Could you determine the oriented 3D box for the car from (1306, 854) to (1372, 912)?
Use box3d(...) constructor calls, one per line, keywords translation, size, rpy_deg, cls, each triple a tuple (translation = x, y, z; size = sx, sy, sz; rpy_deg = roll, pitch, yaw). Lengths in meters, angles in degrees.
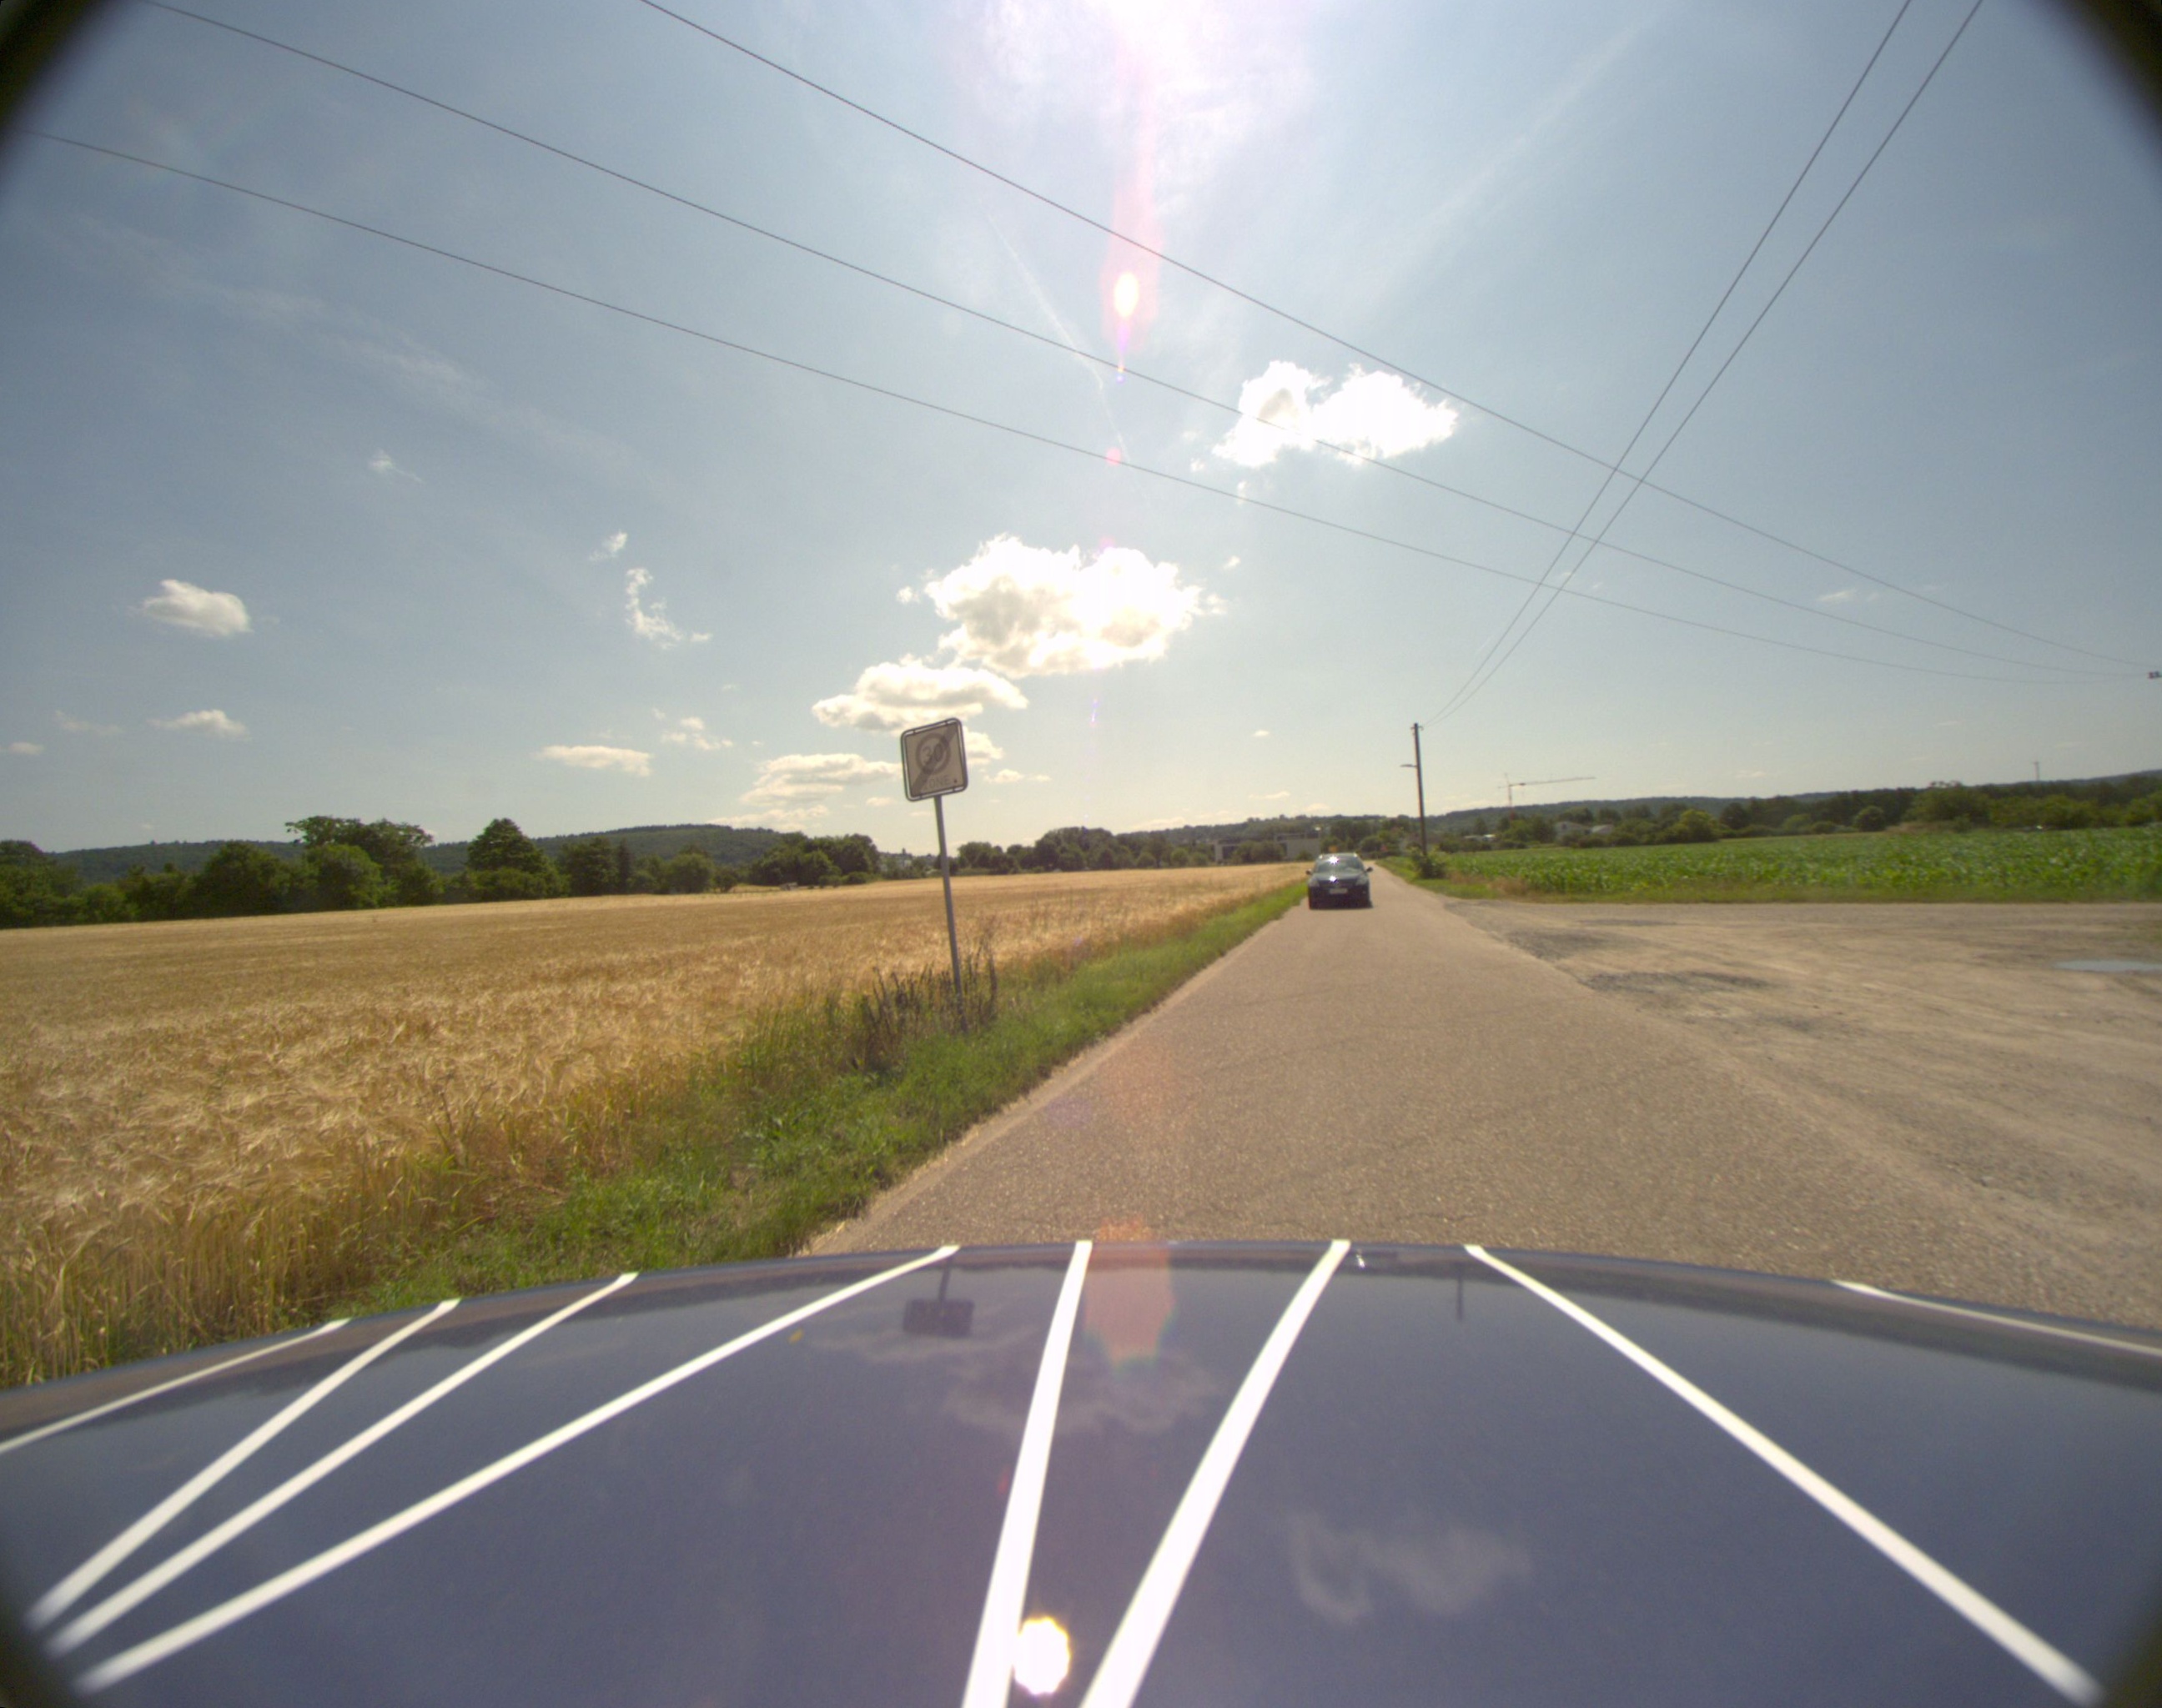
box3d(translation=(8.226, 0.856, 24.076), size=(1.746, 1.669, 4.261), rpy_deg=(-2, -1, 20), cls="car")
